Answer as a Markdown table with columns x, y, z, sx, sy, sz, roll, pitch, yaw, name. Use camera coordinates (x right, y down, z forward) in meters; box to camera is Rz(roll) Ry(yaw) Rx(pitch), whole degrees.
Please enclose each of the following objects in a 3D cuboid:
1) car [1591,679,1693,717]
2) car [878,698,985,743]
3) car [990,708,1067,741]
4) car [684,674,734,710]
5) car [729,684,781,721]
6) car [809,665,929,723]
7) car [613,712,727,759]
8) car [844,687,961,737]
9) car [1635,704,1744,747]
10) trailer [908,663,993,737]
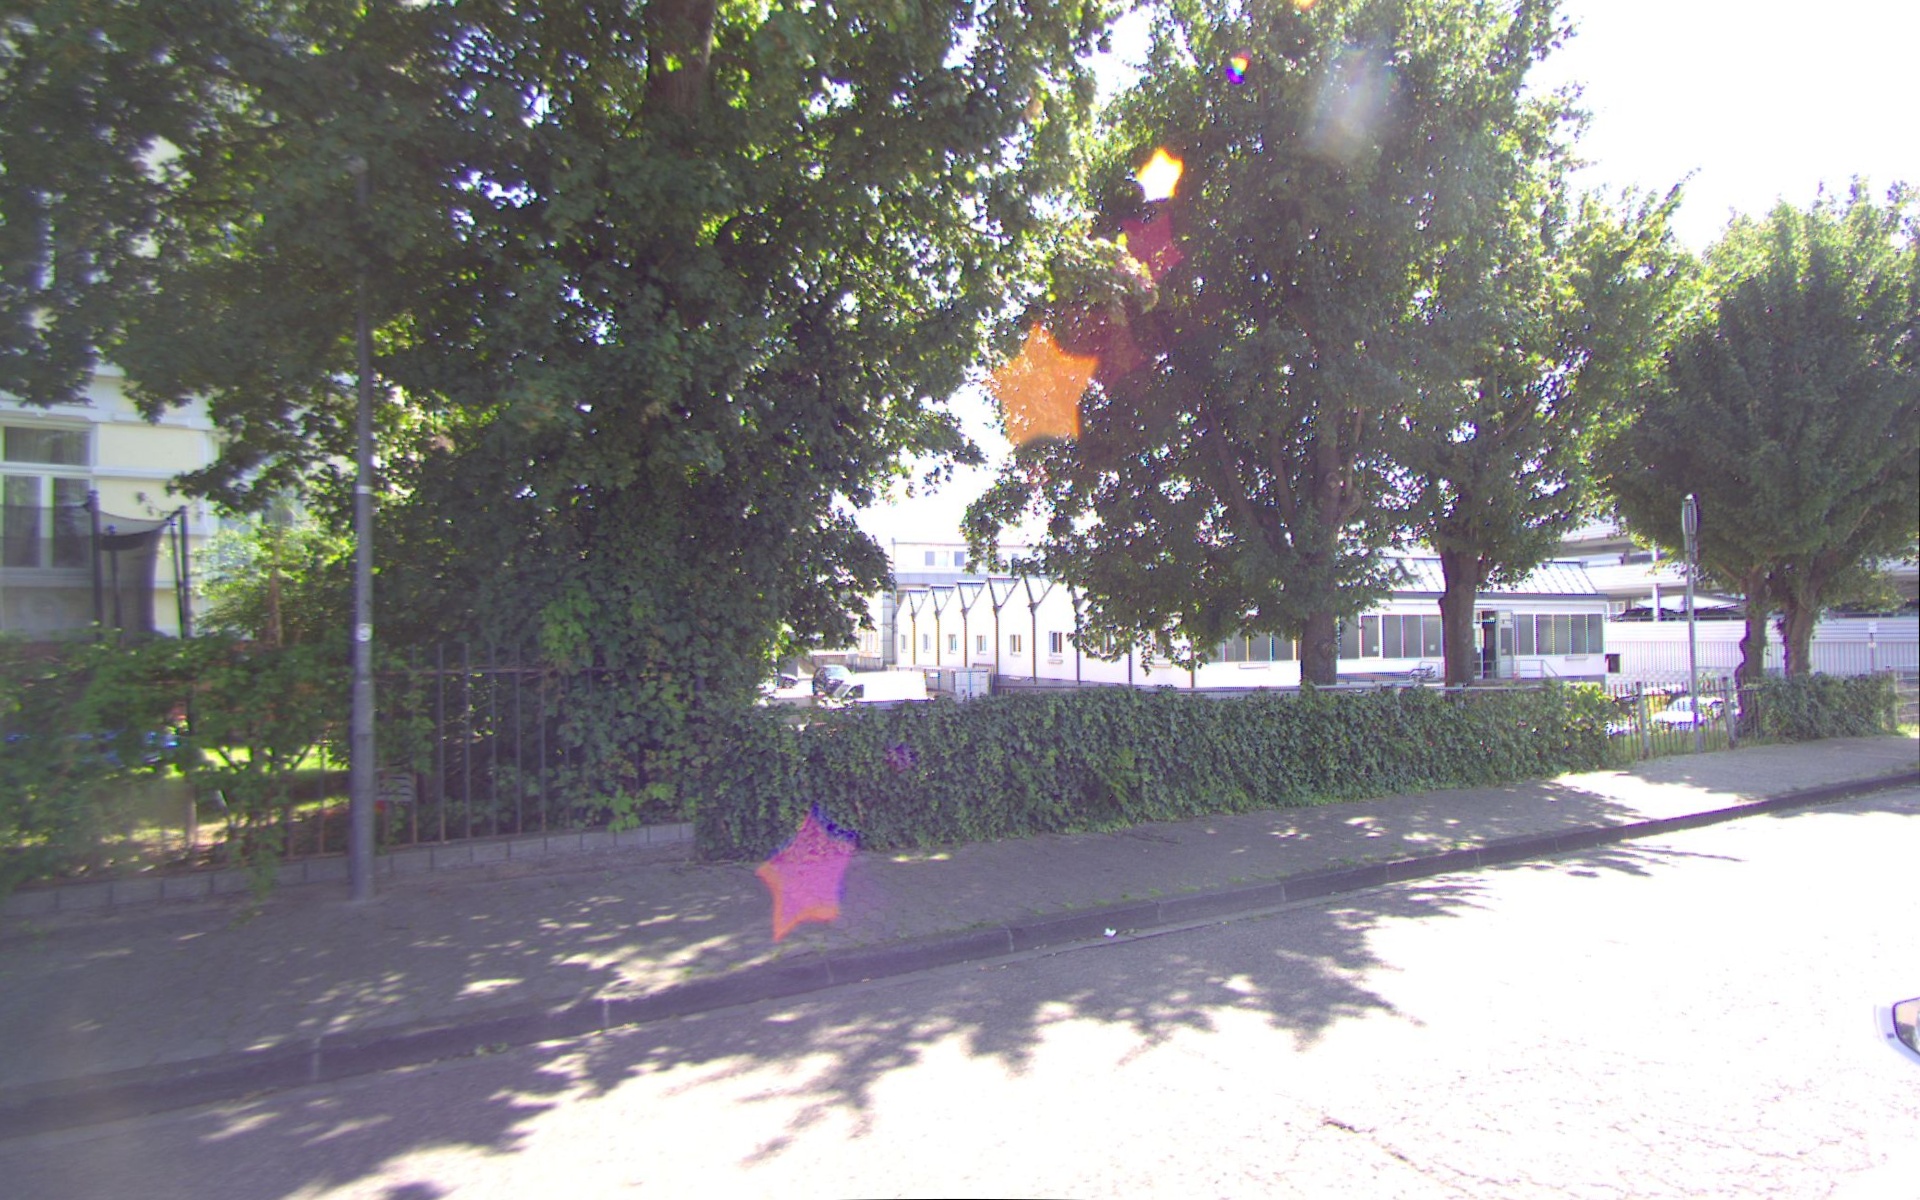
| x | y | z | sx | sy | sz | roll | pitch | yaw | name |
| --- | --- | --- | --- | --- | --- | --- | --- | --- | --- |
| 29.684 | 4.228 | 43.714 | 3.948 | 1.461 | 1.987 | 1 | -2 | -27 | car |
| -1.165 | 4.862 | 40.895 | 3.944 | 1.705 | 1.989 | 2 | -5 | -24 | car |
| 3.532 | 6.400 | 51.696 | 3.545 | 1.537 | 1.783 | 2 | -5 | -22 | car |
| -13.377 | 4.843 | 53.278 | 2.084 | 1.699 | 4.582 | 2 | -3 | -20 | car |
| -11.111 | 5.499 | 54.304 | 2.084 | 1.699 | 4.582 | 2 | -3 | -20 | car |
| -4.788 | 4.880 | 52.669 | 5.846 | 2.913 | 2.433 | 2 | -4 | -21 | car |
| -12.375 | 5.747 | 42.904 | 4.534 | 1.699 | 1.814 | 0 | -4 | -22 | car |
| -2.549 | 4.933 | 44.688 | 4.854 | 2.048 | 1.990 | 2 | -3 | -22 | car |
| 29.587 | 5.047 | 40.740 | 3.948 | 1.461 | 1.987 | 1 | -3 | -27 | car |
| -0.695 | 5.930 | 60.926 | 2.717 | 4.046 | 6.847 | 0 | -2 | -23 | trailer |
